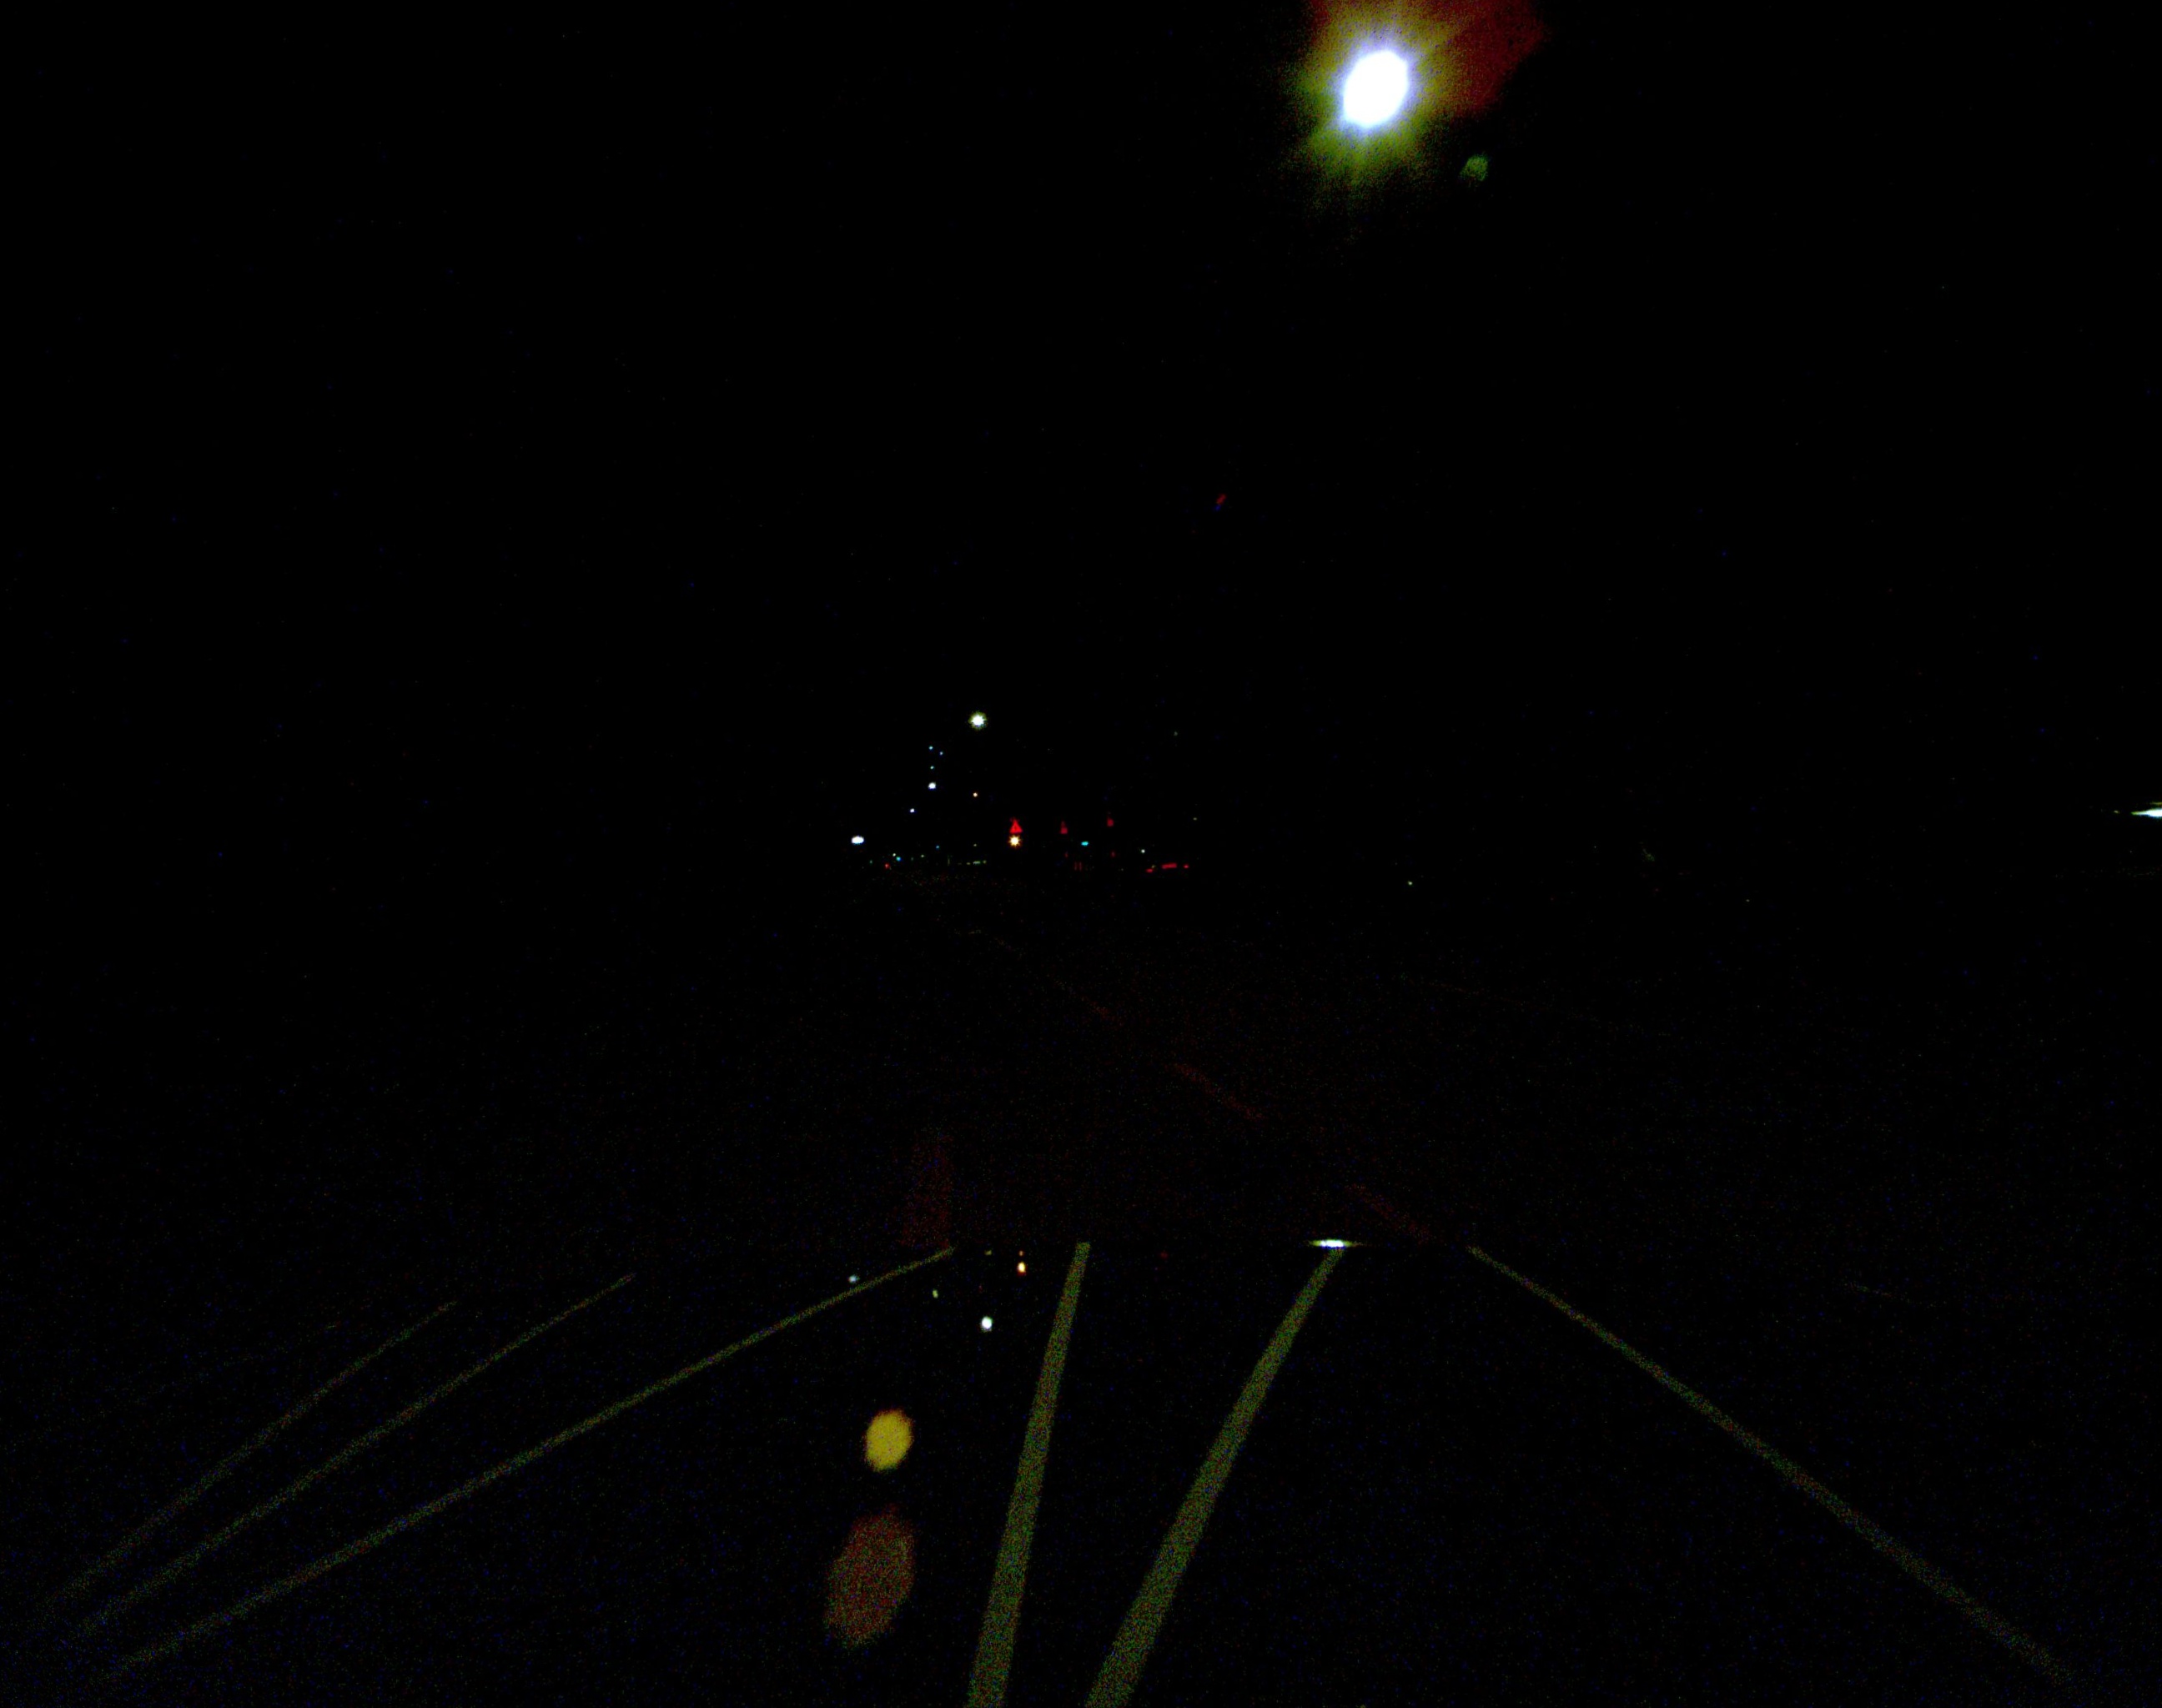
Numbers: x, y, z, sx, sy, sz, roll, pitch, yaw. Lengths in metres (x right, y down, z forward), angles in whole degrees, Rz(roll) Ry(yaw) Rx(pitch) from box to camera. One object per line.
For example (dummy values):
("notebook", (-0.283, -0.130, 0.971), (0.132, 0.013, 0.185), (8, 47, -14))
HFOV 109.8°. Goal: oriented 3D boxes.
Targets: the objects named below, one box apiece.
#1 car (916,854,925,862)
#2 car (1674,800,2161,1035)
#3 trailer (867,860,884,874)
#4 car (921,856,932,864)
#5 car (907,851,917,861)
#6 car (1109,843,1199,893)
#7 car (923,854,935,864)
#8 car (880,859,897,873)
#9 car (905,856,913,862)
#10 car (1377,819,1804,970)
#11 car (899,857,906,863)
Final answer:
("car", (-36.311, 0.954, 171.420), (1.828, 1.637, 3.727), (-3, 1, -13))
("car", (7.533, 0.367, 5.614), (1.774, 1.477, 4.857), (-3, 1, -15))
("trailer", (-25.377, 1.559, 93.944), (1.606, 1.486, 3.730), (-5, 1, -11))
("car", (-30.515, 1.171, 150.170), (1.828, 1.424, 3.727), (-7, 1, -13))
("car", (-47.840, 0.508, 214.906), (2.007, 2.493, 4.947), (-7, 1, -16))
("car", (2.428, 0.460, 26.316), (1.720, 1.485, 3.985), (-5, 1, -14))
("car", (-28.843, 0.979, 144.507), (1.884, 1.799, 3.727), (-7, 1, -13))
("car", (-21.658, 1.338, 85.643), (1.592, 1.453, 3.792), (-5, 1, -12))
("car", (-46.054, 1.390, 203.208), (1.828, 1.424, 3.726), (-7, 1, -16))
("car", (6.350, 0.413, 10.322), (1.775, 1.477, 4.761), (-3, 1, -16))
("car", (-56.745, 1.891, 241.058), (1.828, 1.424, 3.726), (-7, 1, -16))
